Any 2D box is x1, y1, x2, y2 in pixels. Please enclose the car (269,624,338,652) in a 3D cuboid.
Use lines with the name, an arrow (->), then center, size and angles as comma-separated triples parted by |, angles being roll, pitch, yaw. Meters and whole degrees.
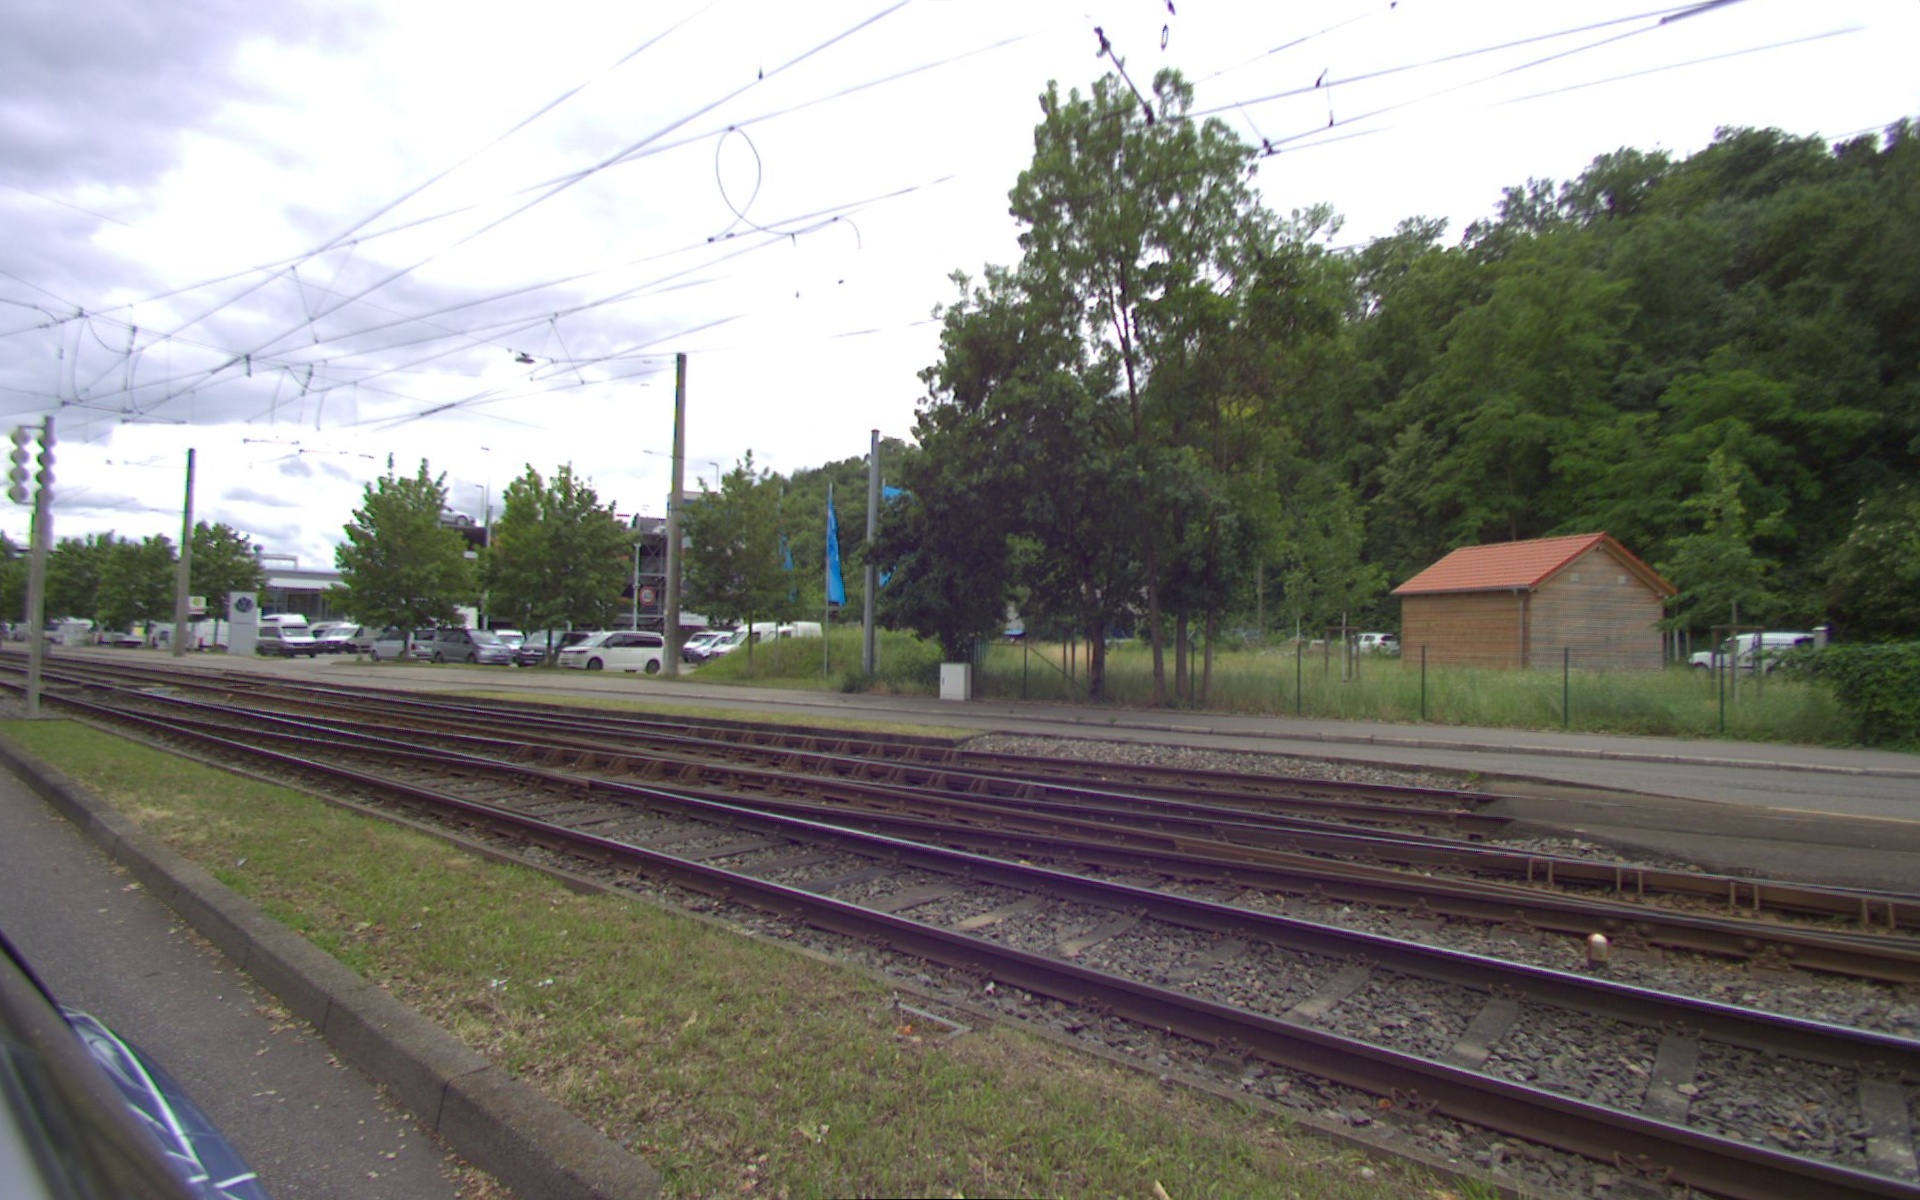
car -> -56.333, 3.235, 86.855 | 2.107, 2.225, 4.578 | -1, 0, 40

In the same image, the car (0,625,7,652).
car -> -64.023, 2.361, 65.984 | 4.129, 1.731, 1.883 | 1, -7, 37

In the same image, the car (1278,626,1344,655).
car -> 21.556, 2.462, 62.320 | 1.727, 1.625, 3.693 | -1, 0, -24

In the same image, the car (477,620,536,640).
car -> -44.348, 2.909, 98.976 | 5.138, 1.850, 1.986 | -1, 0, -28

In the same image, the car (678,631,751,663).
car -> -15.876, 2.997, 65.499 | 4.164, 1.850, 1.986 | -1, 0, -30

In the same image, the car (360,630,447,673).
car -> -30.063, 2.748, 54.644 | 4.762, 2.132, 2.119 | -1, 0, 33

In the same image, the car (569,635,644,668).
car -> -22.338, 3.221, 63.970 | 4.164, 1.850, 1.986 | -1, 0, -30

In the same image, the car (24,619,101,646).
car -> -78.177, 2.810, 88.208 | 2.103, 2.225, 4.588 | -1, 0, 33

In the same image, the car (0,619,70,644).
car -> -86.198, 2.891, 94.206 | 2.103, 2.225, 4.588 | -1, 0, 33

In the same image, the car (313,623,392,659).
car -> -49.198, 3.249, 82.173 | 2.294, 2.642, 6.035 | -1, 0, 7

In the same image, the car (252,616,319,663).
car -> -46.041, 2.614, 69.030 | 6.155, 3.034, 2.290 | -1, 0, 41

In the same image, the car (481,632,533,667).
car -> -27.457, 2.933, 61.223 | 1.872, 1.907, 4.606 | -1, 0, -37

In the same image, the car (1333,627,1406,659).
car -> 23.523, 2.444, 58.227 | 1.727, 1.625, 3.693 | -1, 0, -24

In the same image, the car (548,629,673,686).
car -> -15.930, 2.565, 46.403 | 1.997, 2.284, 5.205 | -1, 0, 38

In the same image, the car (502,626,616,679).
car -> -19.085, 2.452, 48.375 | 1.977, 2.284, 4.716 | -1, 0, 38

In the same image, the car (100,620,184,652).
car -> -62.279, 2.728, 77.090 | 2.103, 2.225, 4.588 | -1, 0, 33

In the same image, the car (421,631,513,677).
car -> -24.893, 2.682, 51.088 | 4.764, 2.132, 2.118 | -1, 0, 34

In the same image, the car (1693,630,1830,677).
car -> 31.018, 2.022, 39.288 | 1.877, 1.625, 3.693 | -1, 0, -22

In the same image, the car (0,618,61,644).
car -> -88.206, 2.911, 95.603 | 2.103, 2.225, 4.588 | -1, 0, 33

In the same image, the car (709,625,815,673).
car -> -11.281, 2.758, 57.724 | 5.567, 2.479, 1.986 | -1, 0, -30

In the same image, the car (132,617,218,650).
car -> -57.782, 2.415, 74.530 | 2.103, 2.225, 4.588 | -1, 0, 33

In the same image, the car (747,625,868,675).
car -> -7.740, 2.472, 51.556 | 5.762, 2.284, 2.060 | -1, 0, -27

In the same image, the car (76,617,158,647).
car -> -66.607, 2.518, 80.070 | 2.103, 2.225, 4.588 | -1, 0, 33

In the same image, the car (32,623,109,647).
car -> -76.244, 2.976, 86.772 | 2.103, 1.854, 4.588 | -1, 0, 33

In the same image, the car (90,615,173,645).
car -> -64.244, 2.296, 78.560 | 2.103, 2.225, 4.588 | -1, 0, 33

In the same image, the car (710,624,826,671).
car -> -10.282, 2.497, 54.370 | 5.751, 2.284, 2.060 | -1, 0, -27

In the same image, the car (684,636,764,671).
car -> -13.875, 3.099, 59.515 | 4.164, 1.850, 1.986 | -1, 0, -30
